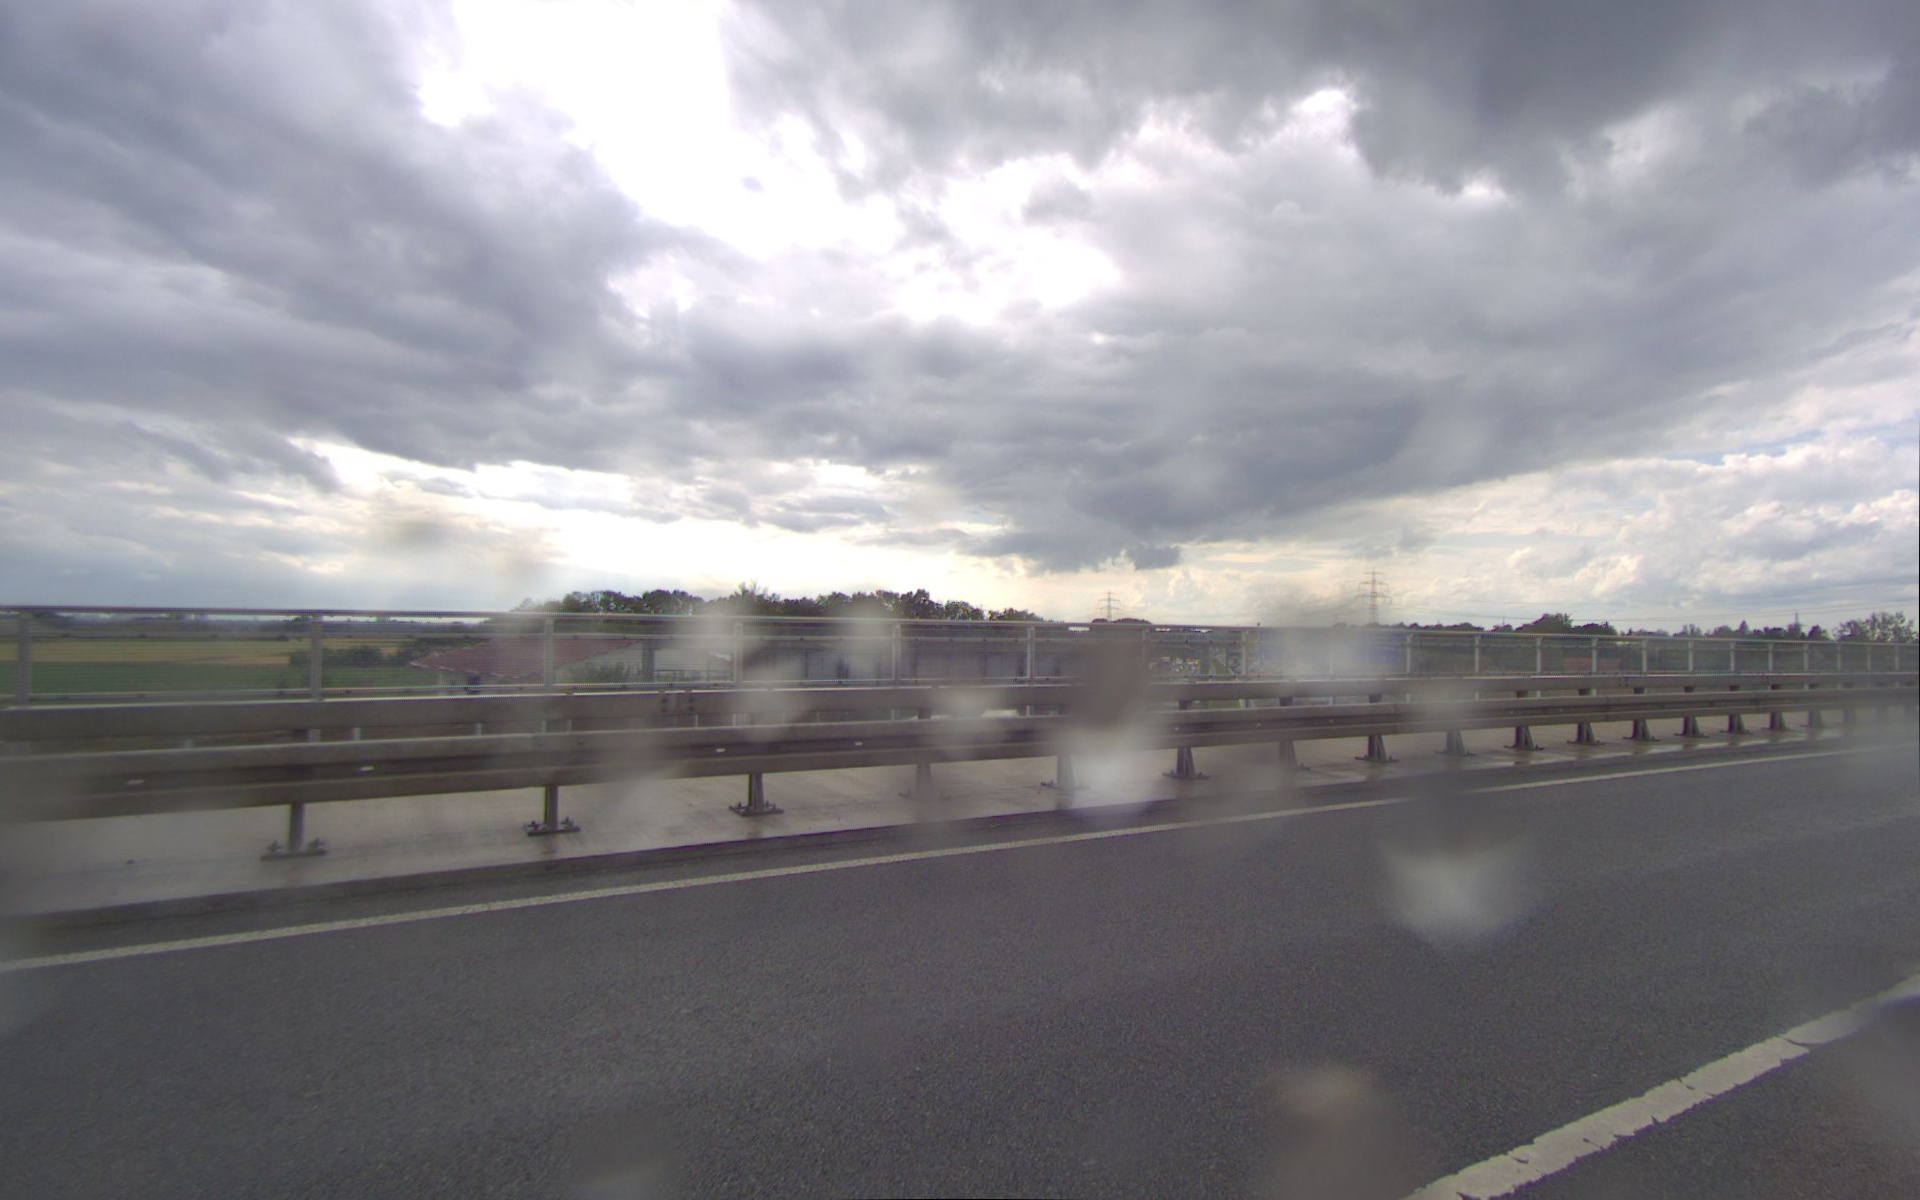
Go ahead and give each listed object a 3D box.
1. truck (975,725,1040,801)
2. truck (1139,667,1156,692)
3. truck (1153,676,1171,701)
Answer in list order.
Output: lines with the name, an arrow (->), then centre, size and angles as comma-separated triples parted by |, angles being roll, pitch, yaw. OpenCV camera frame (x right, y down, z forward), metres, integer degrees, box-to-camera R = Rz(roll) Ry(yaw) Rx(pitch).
truck -> 3.814, 12.284, 77.045 | 2.388, 4.054, 11.174 | 2, 0, 16
truck -> 39.123, 16.522, 209.466 | 2.388, 4.249, 11.174 | 2, 0, 16
truck -> 39.329, 17.162, 195.349 | 2.388, 3.812, 11.174 | 2, 0, 16
